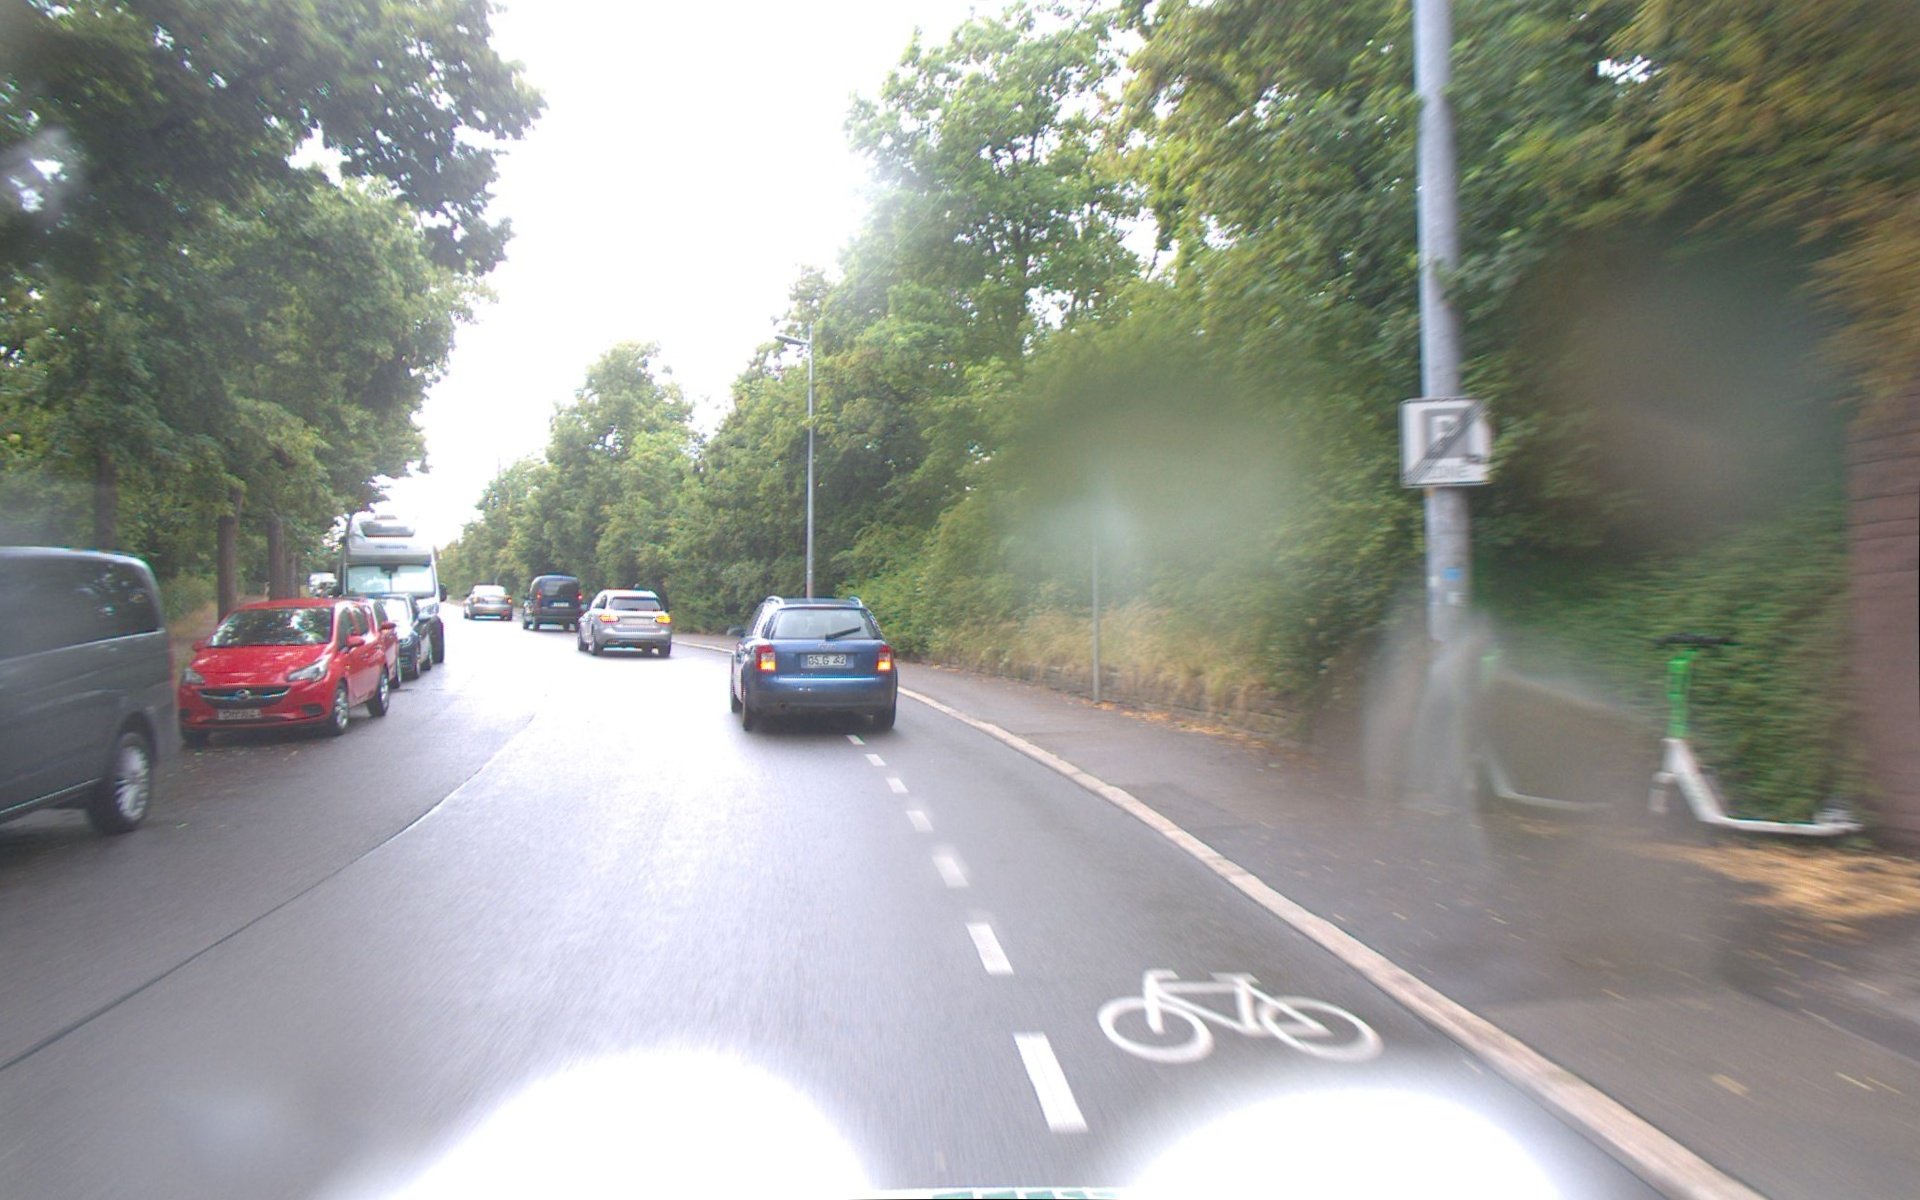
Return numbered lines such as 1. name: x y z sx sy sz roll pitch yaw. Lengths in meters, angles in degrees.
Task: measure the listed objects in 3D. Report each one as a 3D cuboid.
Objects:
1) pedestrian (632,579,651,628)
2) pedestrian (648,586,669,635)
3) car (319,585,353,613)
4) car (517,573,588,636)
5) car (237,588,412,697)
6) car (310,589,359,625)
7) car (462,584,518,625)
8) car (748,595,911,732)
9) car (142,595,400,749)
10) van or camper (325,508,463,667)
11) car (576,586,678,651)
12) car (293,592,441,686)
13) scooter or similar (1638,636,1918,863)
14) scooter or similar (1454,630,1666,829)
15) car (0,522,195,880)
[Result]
1. pedestrian: -10.412 0.115 54.064 0.543 1.594 0.484 -1 0 -18
2. pedestrian: -9.872 0.345 54.223 0.586 1.594 0.666 0 0 -18
3. car: -32.890 -0.043 87.241 1.664 1.462 4.230 0 0 -20
4. car: -13.978 0.176 56.650 1.764 1.987 3.973 -3 0 -22
5. car: -9.537 0.584 25.091 1.921 1.432 3.533 -2 1 -13
6. car: -24.575 0.257 64.916 1.575 1.386 3.970 0 0 -24
7. car: -19.936 0.176 70.082 1.798 1.645 3.757 -1 0 -24
8. car: -1.614 0.662 19.481 1.714 1.432 3.994 0 0 -7
9. car: -8.017 0.744 19.709 1.920 1.486 4.562 -2 1 -11
10. van or camper: -12.390 -0.264 35.899 2.471 3.079 6.518 -2 1 -22
11. car: -7.796 0.403 38.461 1.862 1.413 3.979 0 0 -18
12. car: -10.466 0.635 29.488 1.921 1.432 4.194 -2 1 -13
13. scooter or similar: 4.428 0.768 9.043 0.342 1.137 1.407 1 -1 -31
14. scooter or similar: 3.715 0.768 10.340 0.342 1.137 1.410 0 0 -26
15. car: -6.387 0.611 9.482 1.916 2.002 4.997 -3 1 -5
